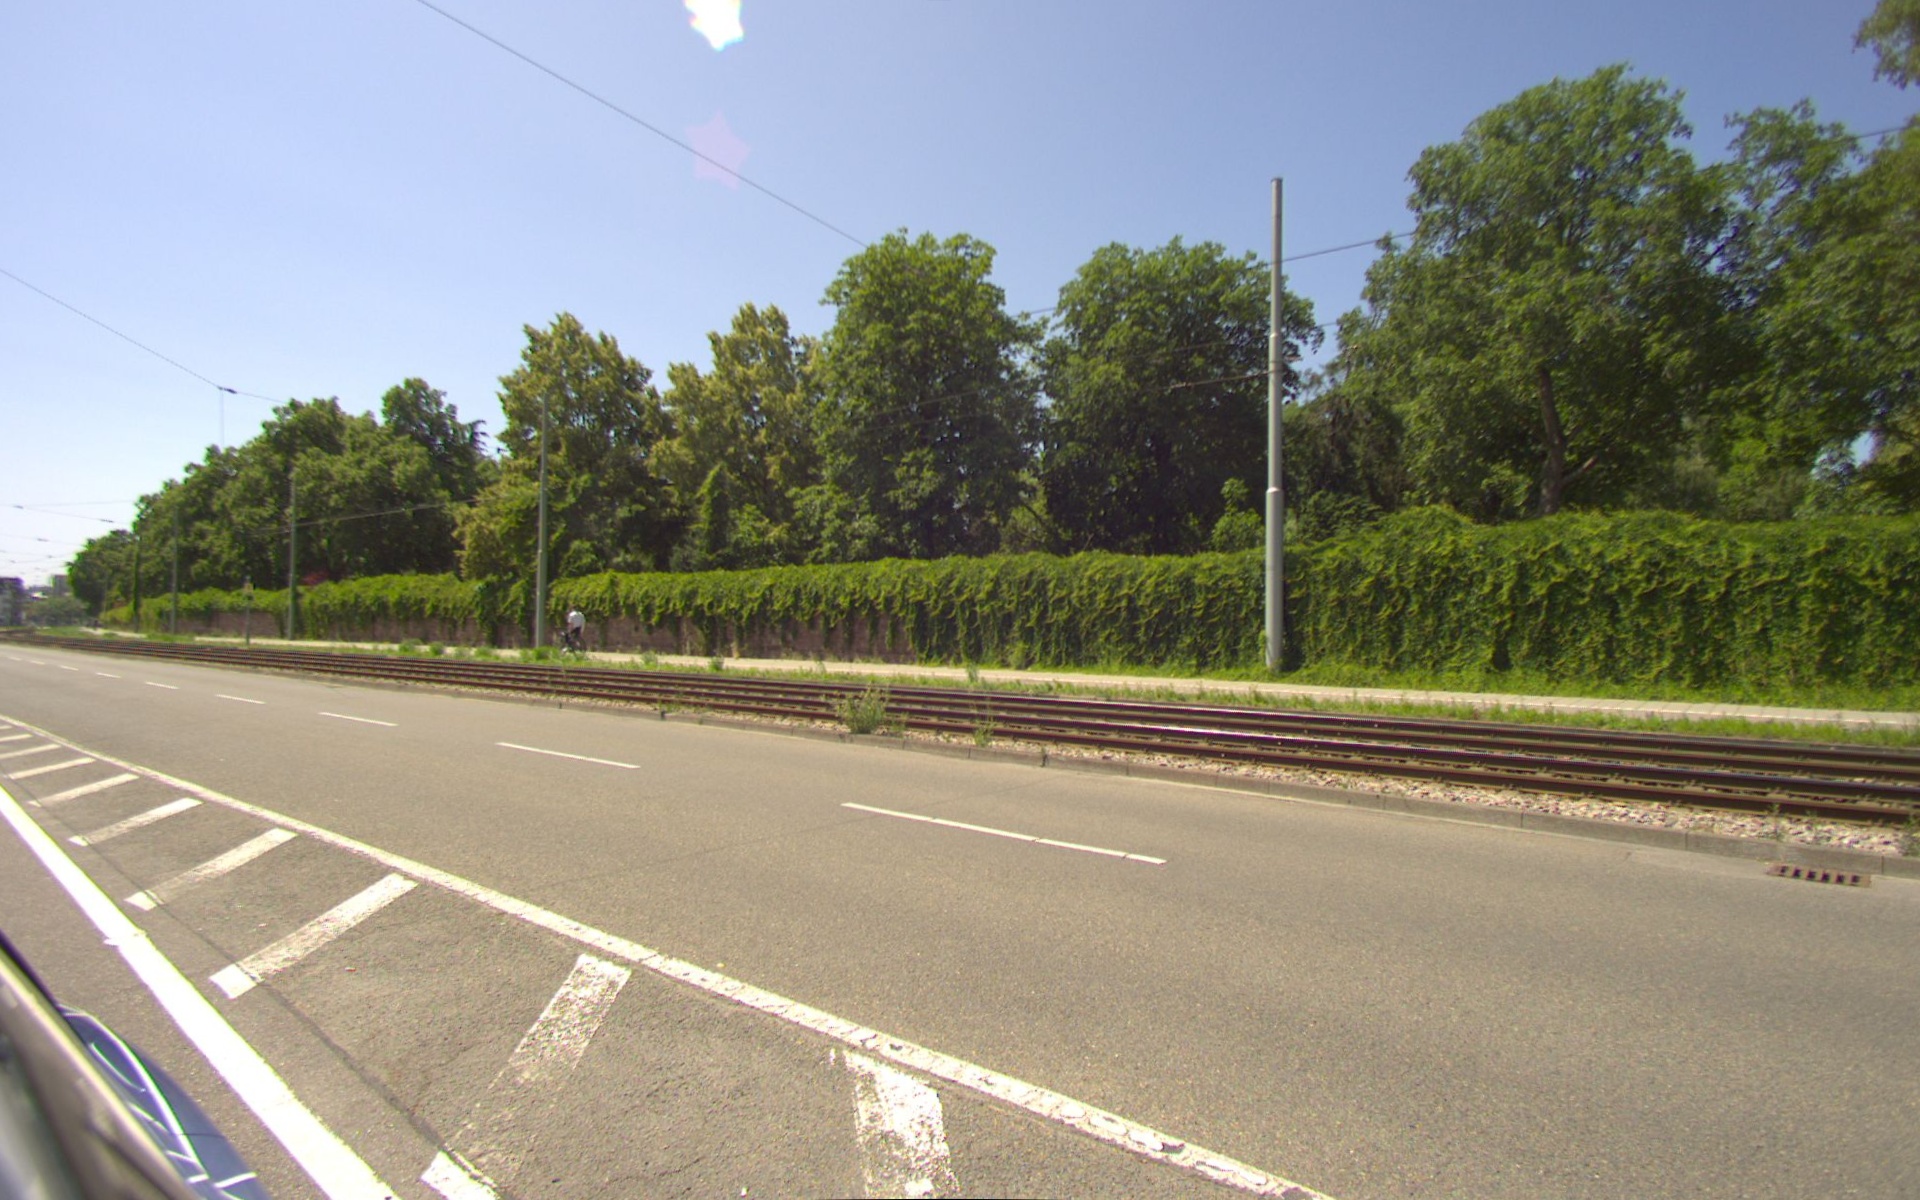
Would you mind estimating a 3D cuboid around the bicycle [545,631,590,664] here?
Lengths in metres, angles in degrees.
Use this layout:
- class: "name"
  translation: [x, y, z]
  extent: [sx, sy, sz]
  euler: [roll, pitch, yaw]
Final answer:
- class: "bicycle"
  translation: [-13.473, 1.608, 34.696]
  extent: [1.977, 1.063, 0.610]
  euler: [-1, 0, 42]

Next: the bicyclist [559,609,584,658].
- class: "bicyclist"
  translation: [-13.218, 1.136, 34.463]
  extent: [0.768, 1.624, 0.477]
  euler: [-1, 0, 41]

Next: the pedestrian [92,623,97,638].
- class: "pedestrian"
  translation: [-101.791, 3.571, 119.006]
  extent: [0.302, 1.677, 0.447]
  euler: [-2, -1, 41]
